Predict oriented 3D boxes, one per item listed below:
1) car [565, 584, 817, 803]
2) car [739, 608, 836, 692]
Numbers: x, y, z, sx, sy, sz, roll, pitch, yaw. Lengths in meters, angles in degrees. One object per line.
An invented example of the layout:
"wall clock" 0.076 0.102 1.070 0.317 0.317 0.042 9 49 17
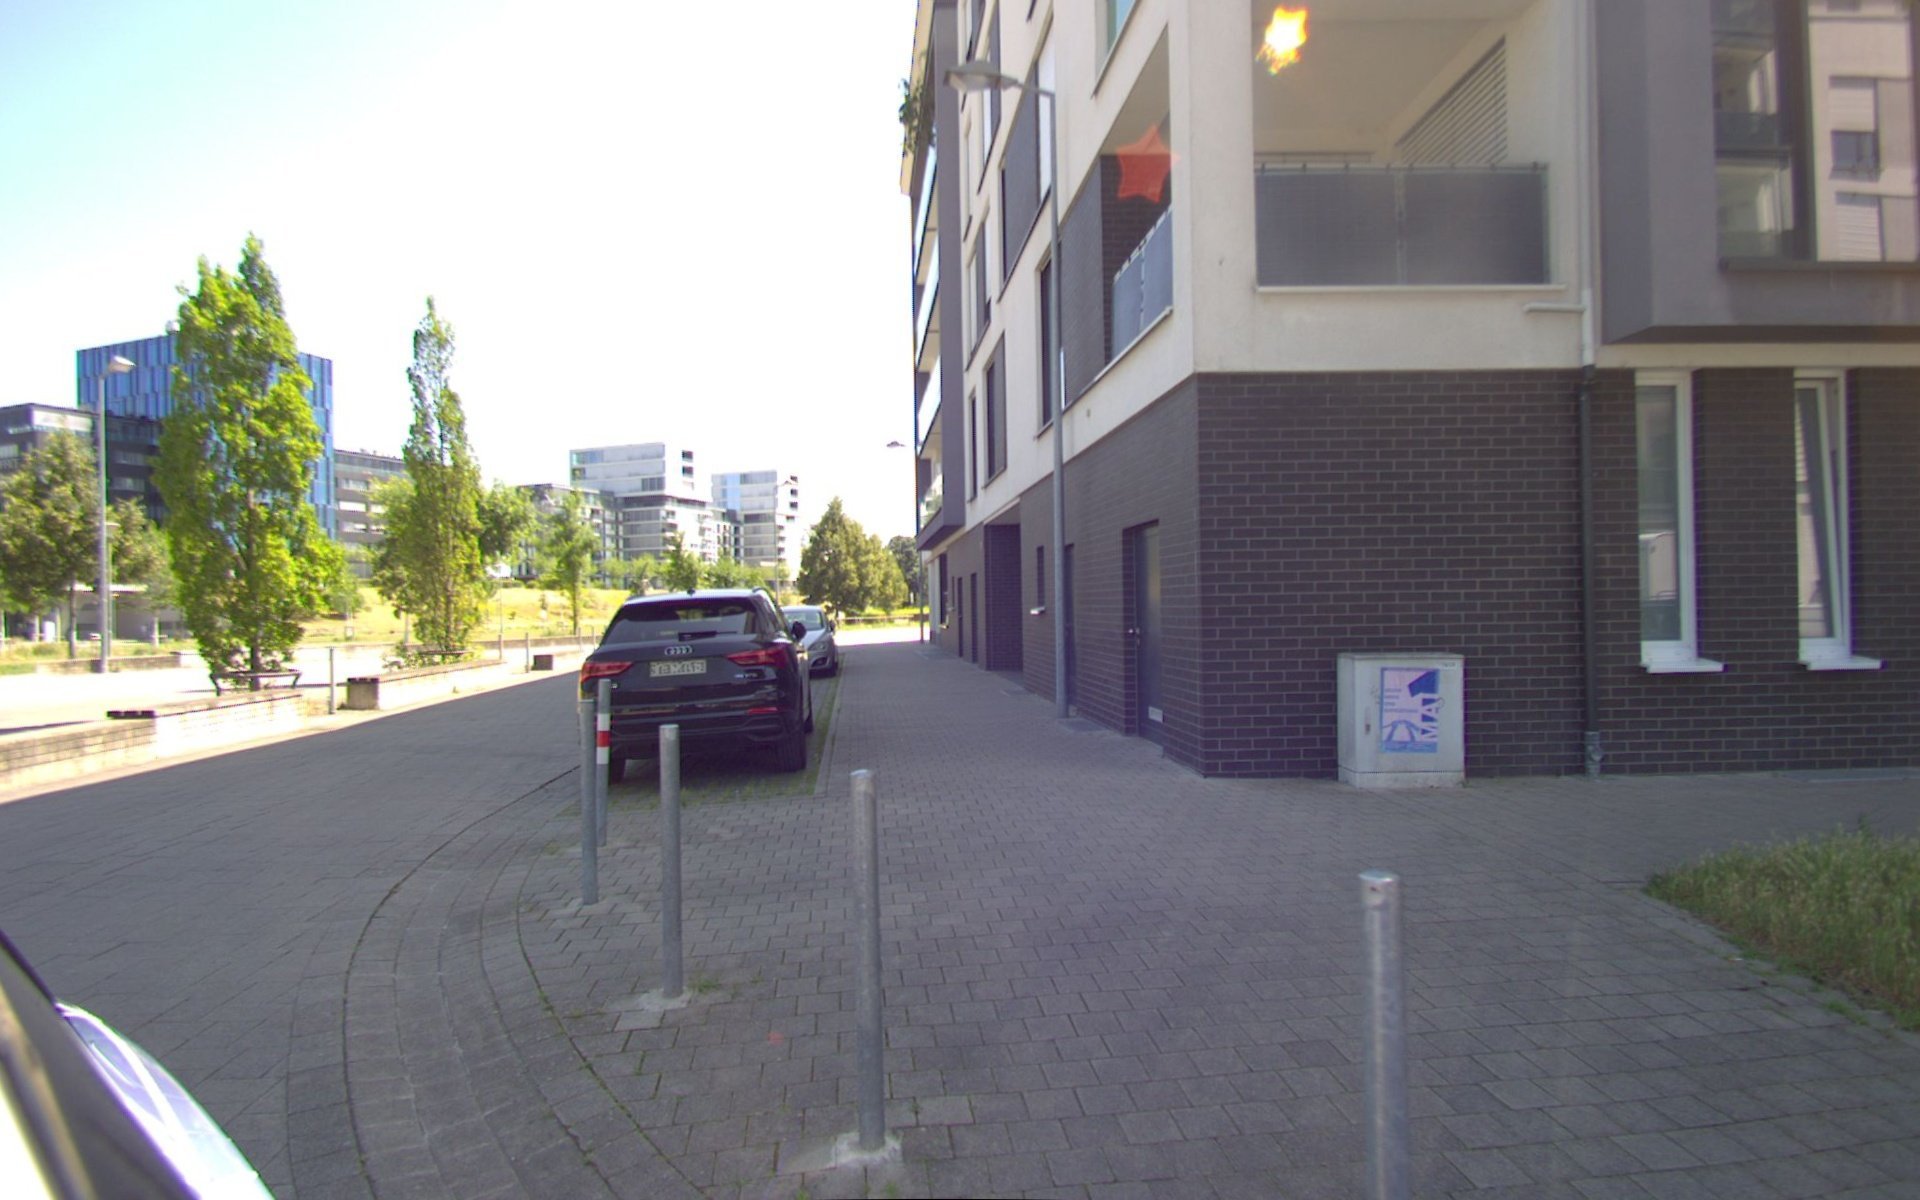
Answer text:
"car" -2.310 0.731 9.754 1.751 1.531 4.404 -3 -1 -8
"car" -3.559 0.993 21.459 1.760 1.516 4.121 -3 -1 -7
